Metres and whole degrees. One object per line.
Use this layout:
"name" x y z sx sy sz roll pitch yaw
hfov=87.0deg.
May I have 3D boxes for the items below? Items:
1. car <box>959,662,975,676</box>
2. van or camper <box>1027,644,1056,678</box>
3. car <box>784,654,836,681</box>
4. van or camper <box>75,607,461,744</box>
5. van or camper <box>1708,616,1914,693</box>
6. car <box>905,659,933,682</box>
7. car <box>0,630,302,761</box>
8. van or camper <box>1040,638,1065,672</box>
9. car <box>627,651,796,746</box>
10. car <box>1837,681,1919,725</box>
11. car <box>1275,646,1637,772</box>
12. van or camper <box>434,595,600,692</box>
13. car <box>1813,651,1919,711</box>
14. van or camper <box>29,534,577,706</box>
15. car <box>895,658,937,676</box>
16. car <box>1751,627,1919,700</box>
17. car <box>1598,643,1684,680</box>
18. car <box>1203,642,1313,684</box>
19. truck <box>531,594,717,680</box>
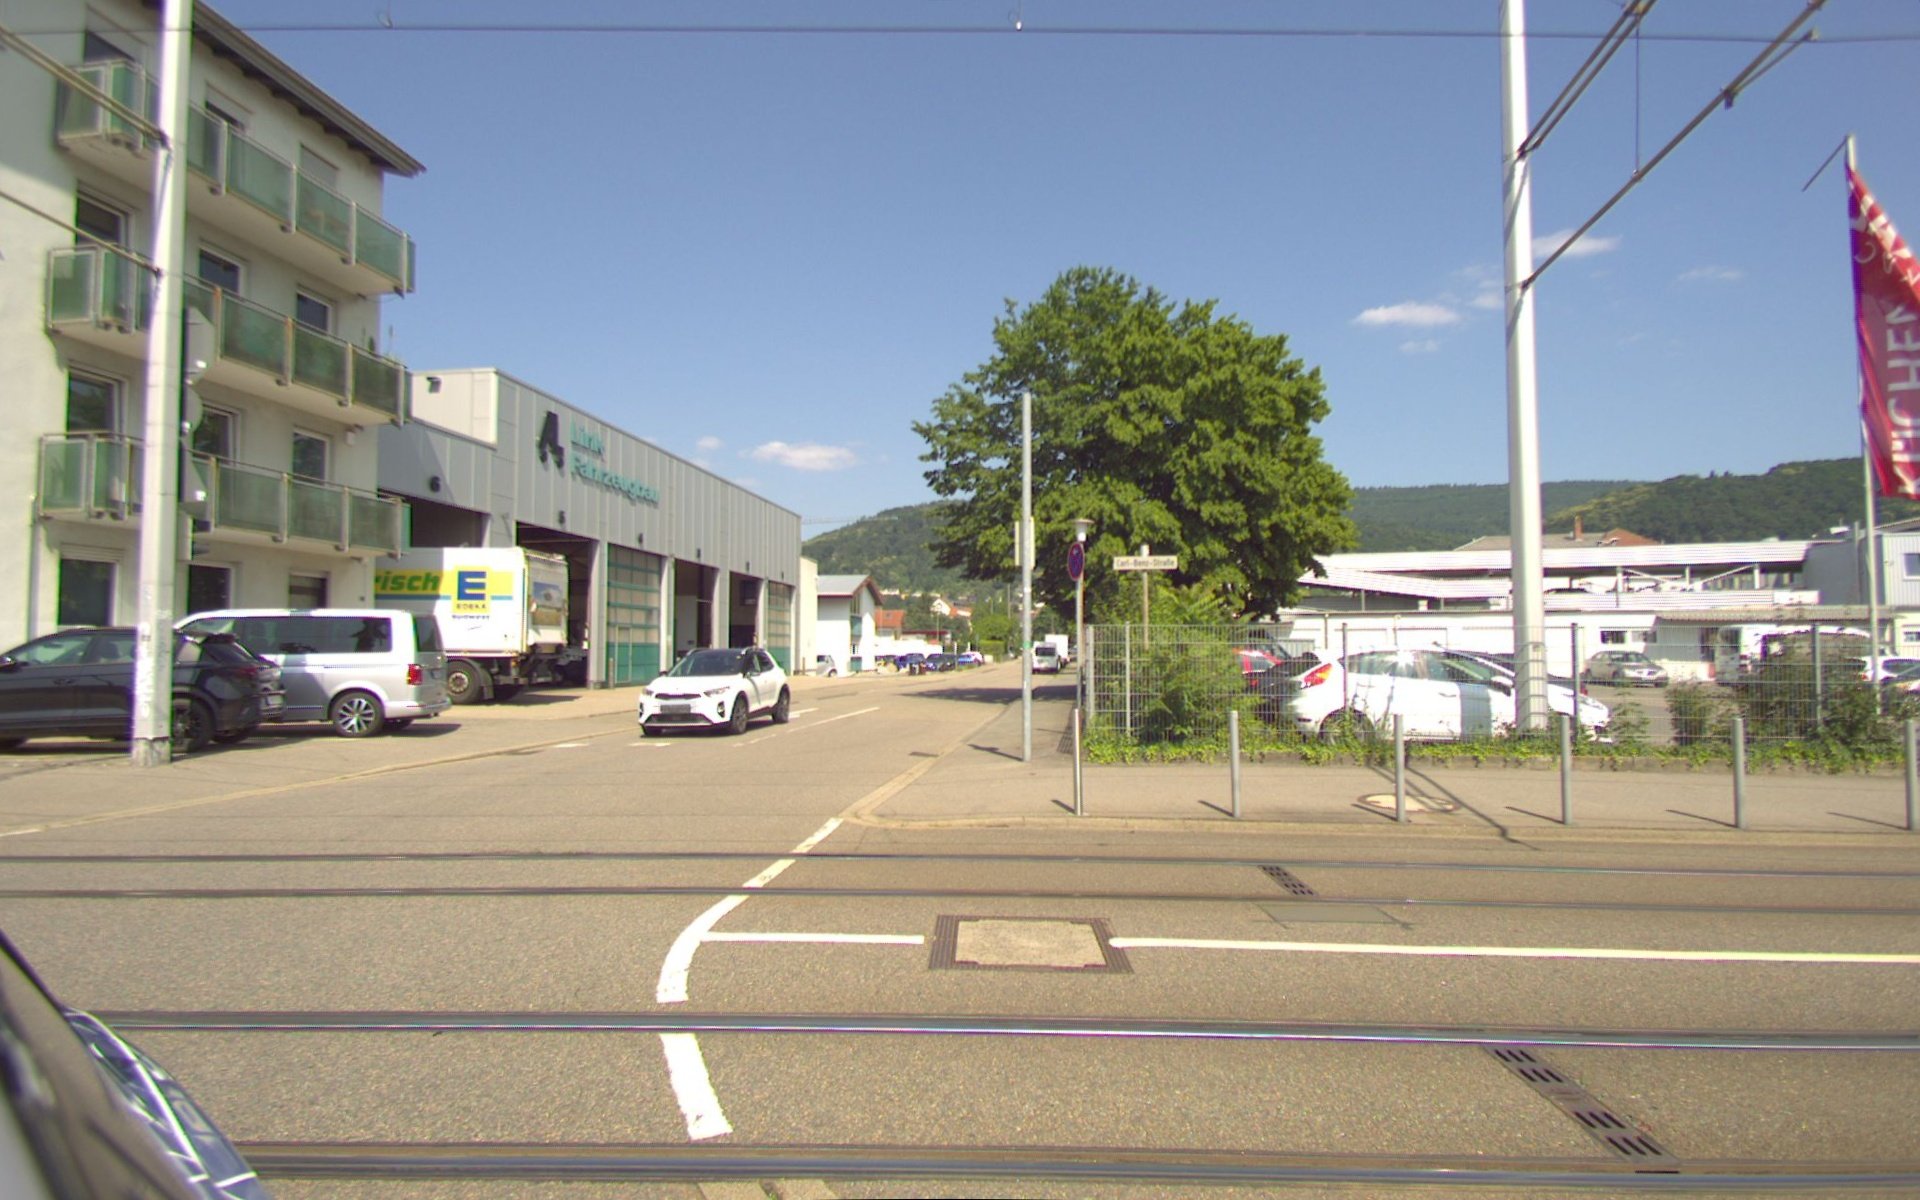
"car" 0.749 7.193 105.500 1.434 1.389 3.182 -3 -3 4
"van or camper" 6.050 4.464 74.597 2.005 2.395 4.676 1 -2 7
"car" -8.877 3.998 59.857 2.778 1.546 1.315 3 -6 -39
"van or camper" -10.478 1.171 15.746 4.480 1.922 2.005 1 -4 -12
"van or camper" 26.690 1.700 31.916 4.558 2.323 1.773 -1 -2 14
"car" -2.605 4.532 65.167 1.434 1.389 3.182 0 -3 4
"car" -10.984 1.169 12.944 3.906 1.533 1.886 1 -3 -17
"van or camper" 9.630 5.676 104.926 2.497 3.396 5.579 0 -3 7
"car" -4.419 1.717 18.691 1.716 1.542 4.100 0 -3 6
"car" 24.196 2.531 24.920 3.459 0.991 1.739 -1 -3 18
"car" 6.305 1.353 13.312 3.911 1.444 1.708 0 -2 10
"van or camper" -15.455 1.534 35.485 4.996 3.230 1.996 -1 -3 6
"car" 25.942 2.144 26.987 4.386 1.569 1.981 -1 -3 17
"van or camper" -15.619 0.516 24.632 11.477 3.721 2.780 1 -3 1
"car" -3.233 4.951 74.803 2.943 1.350 1.449 0 -3 9
"car" 26.142 1.835 29.329 4.539 2.029 2.047 -1 -3 16
"car" 27.667 2.494 41.257 1.986 1.427 3.972 -1 -3 21
"car" 11.512 2.428 39.376 3.959 1.567 1.992 -1 -3 13
"truck" -15.478 1.708 46.819 7.771 3.811 2.617 0 -3 9
